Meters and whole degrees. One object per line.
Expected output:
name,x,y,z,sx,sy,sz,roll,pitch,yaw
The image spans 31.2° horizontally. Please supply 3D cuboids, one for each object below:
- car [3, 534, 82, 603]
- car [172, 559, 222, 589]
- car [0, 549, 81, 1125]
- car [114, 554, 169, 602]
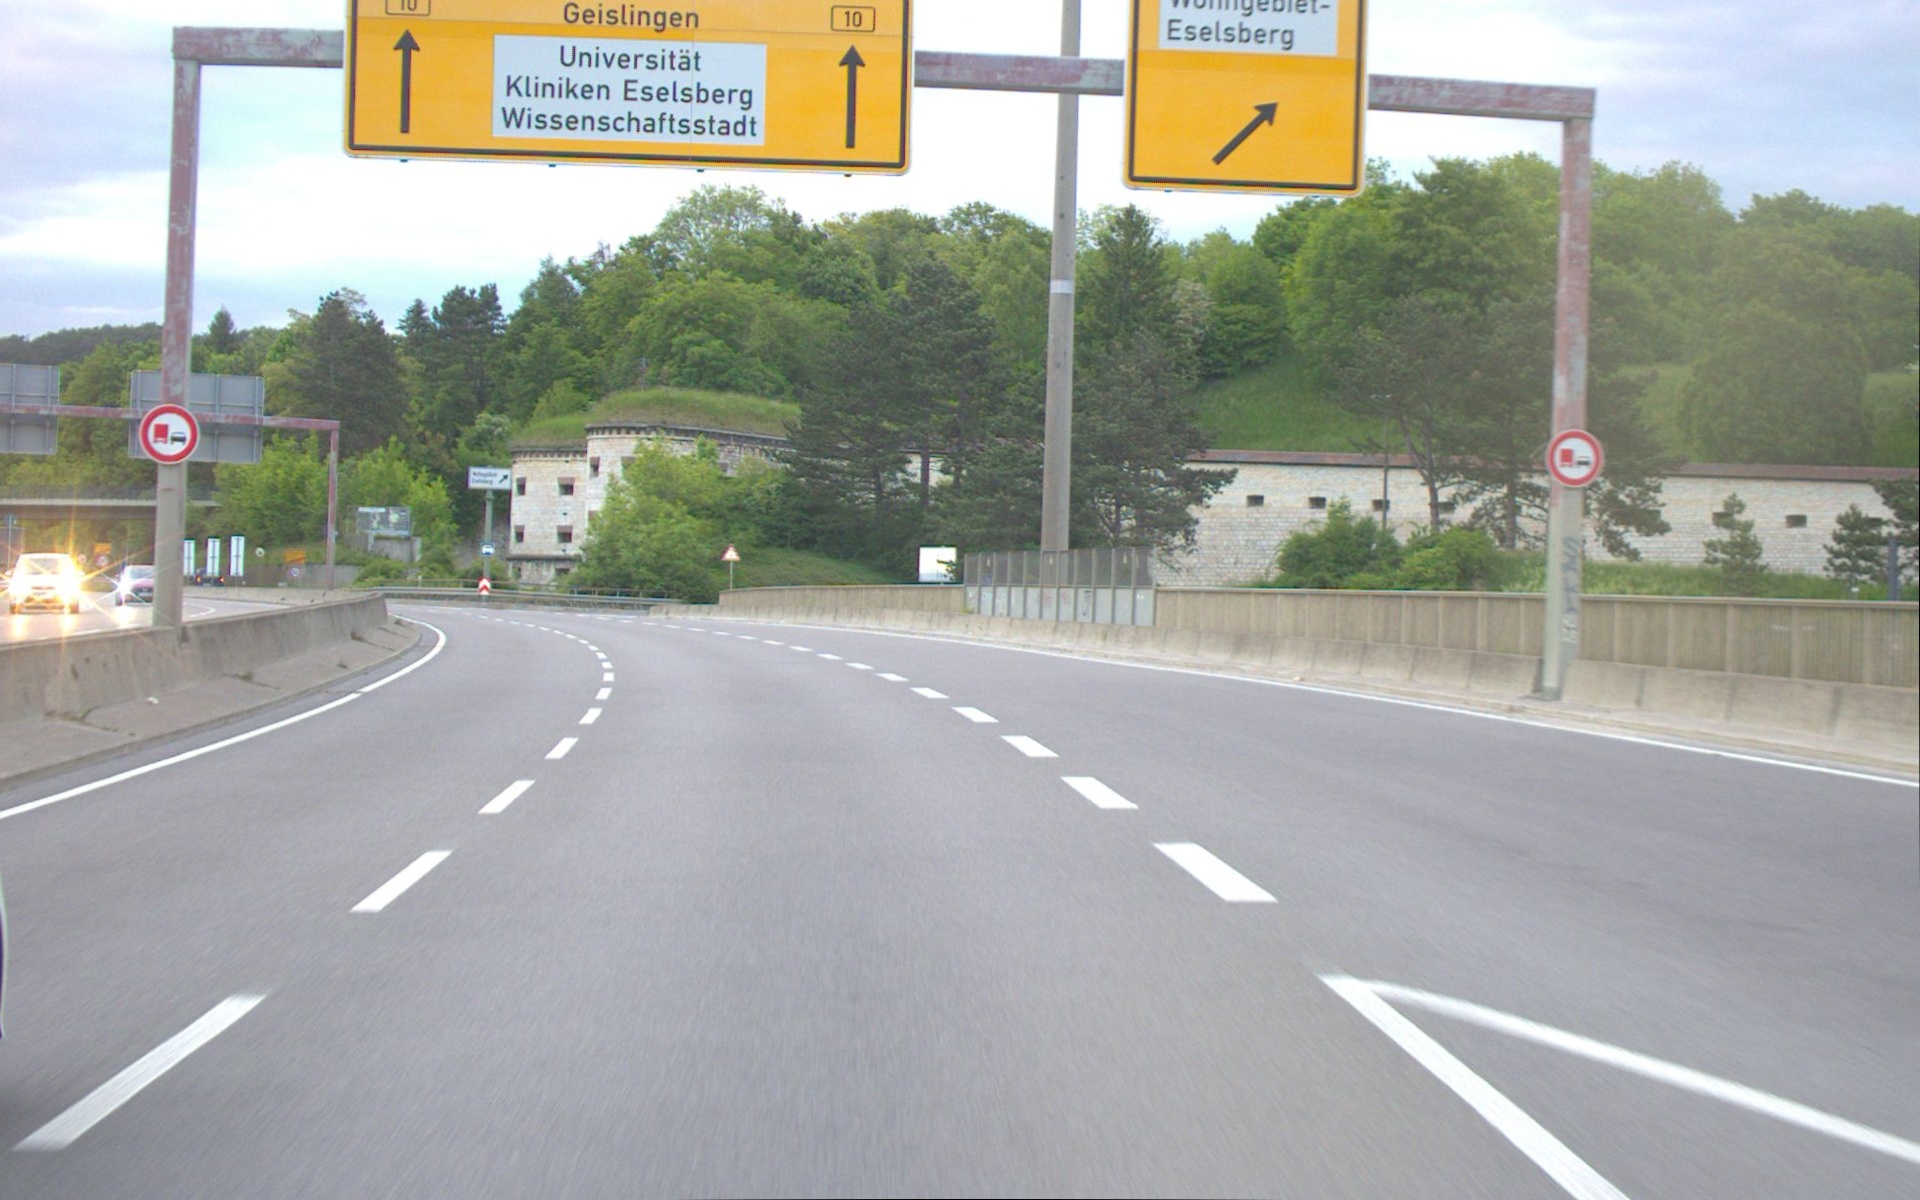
car,-24.281,-0.832,91.087,1.667,1.727,4.001,1,0,-10
car,-49.029,-1.663,220.928,1.993,1.832,4.000,2,-1,-30
car,-3.337,0.615,7.614,1.690,1.532,4.783,1,0,-2
car,-29.021,-0.774,121.945,1.667,1.637,4.001,1,0,-10
